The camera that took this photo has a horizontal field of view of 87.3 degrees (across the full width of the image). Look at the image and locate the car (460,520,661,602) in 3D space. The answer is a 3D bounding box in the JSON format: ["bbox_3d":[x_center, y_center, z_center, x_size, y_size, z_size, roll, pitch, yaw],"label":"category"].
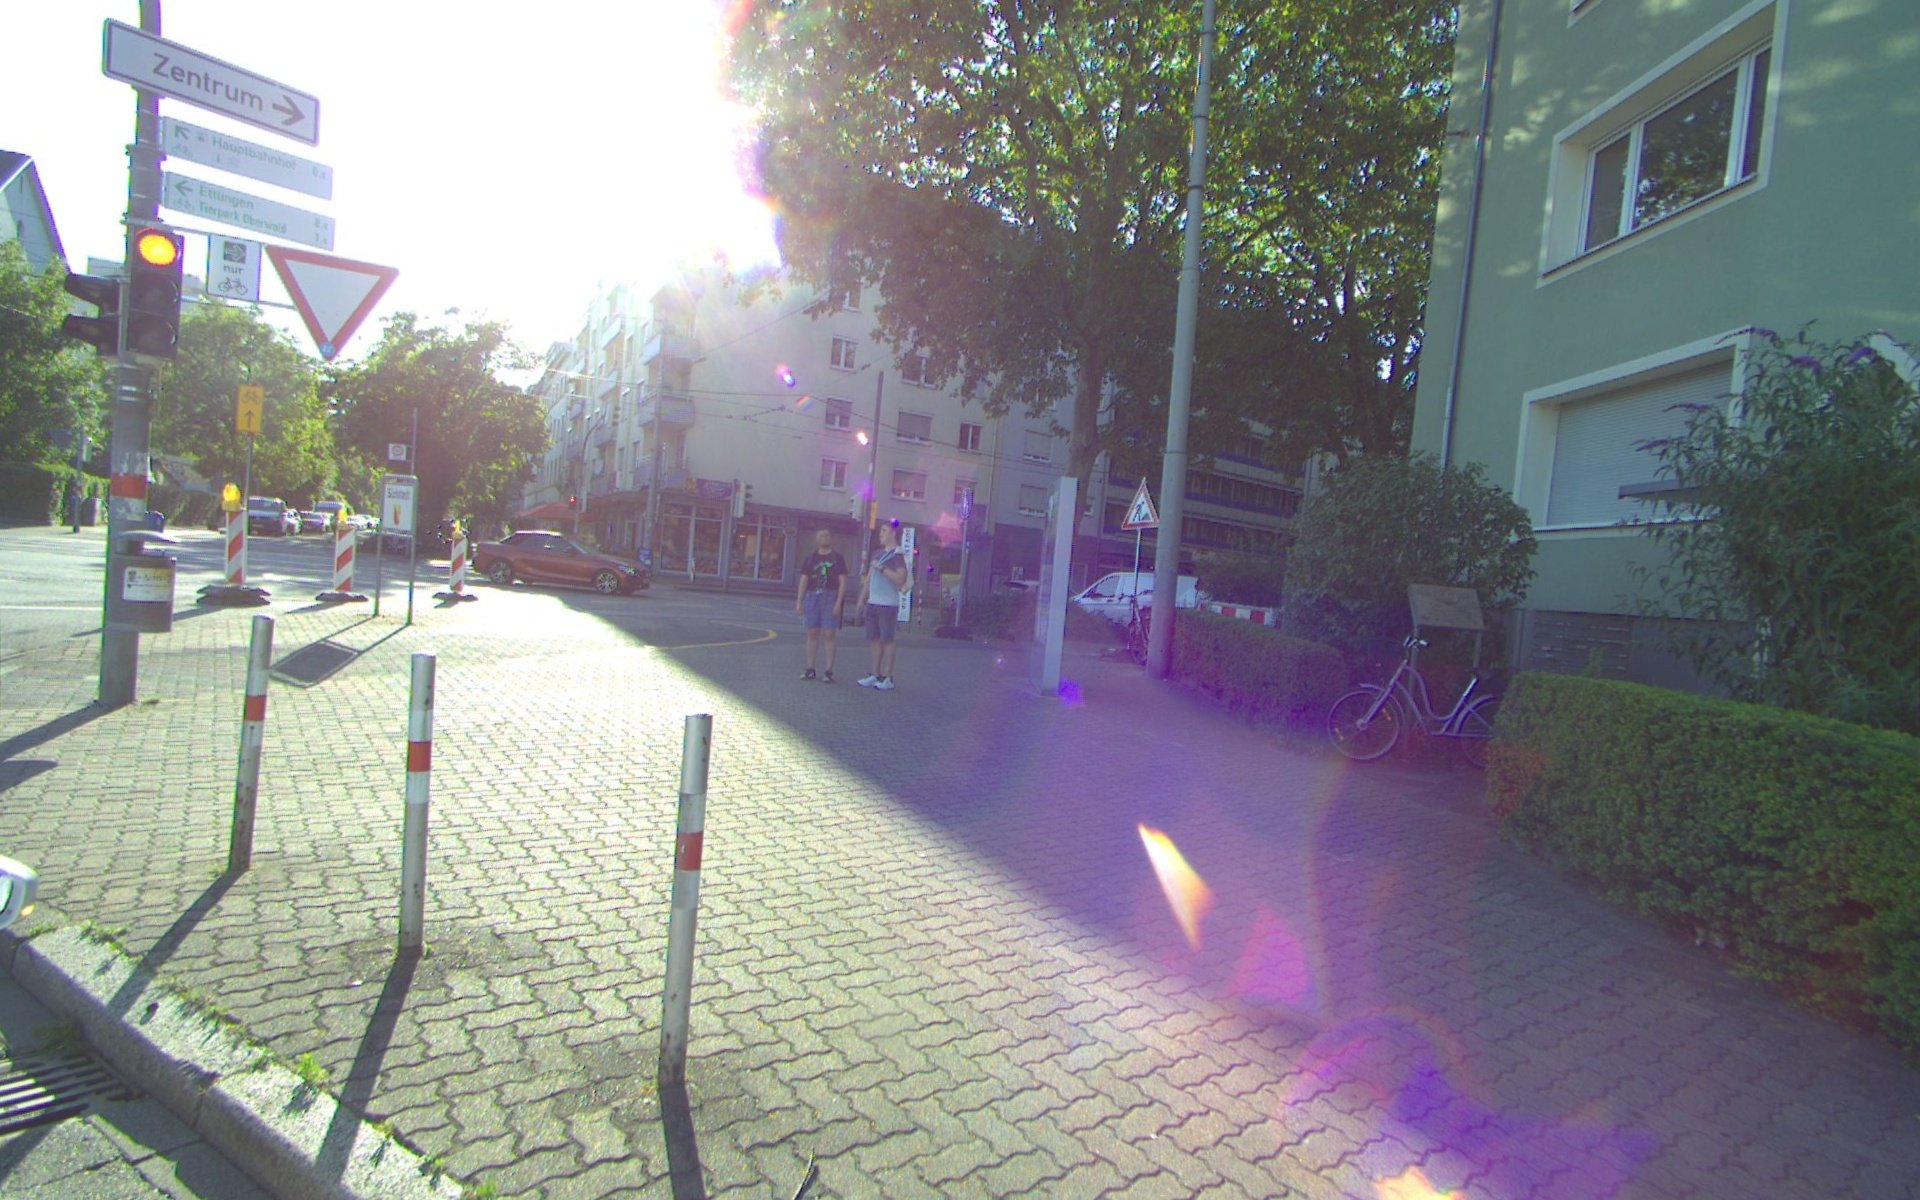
[{"bbox_3d":[-10.231,-0.972,25.980,4.311,1.584,1.899,6,0,-1],"label":"car"}]

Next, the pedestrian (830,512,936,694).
[{"bbox_3d":[-0.793,0.028,10.522,0.680,1.774,0.794,6,2,21],"label":"pedestrian"}]

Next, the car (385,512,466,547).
[{"bbox_3d":[-39.354,-5.156,74.118,5.050,1.948,2.344,5,0,-32],"label":"car"}]

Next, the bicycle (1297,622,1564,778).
[{"bbox_3d":[3.952,0.824,8.550,1.897,1.071,0.521,6,2,5],"label":"bicycle"}]

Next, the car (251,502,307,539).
[{"bbox_3d":[-40.164,-4.683,59.459,2.336,1.818,5.265,4,2,-31],"label":"car"}]

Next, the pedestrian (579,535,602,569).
[{"bbox_3d":[-18.260,-2.378,49.697,0.806,1.565,0.905,3,3,-35],"label":"pedestrian"}]

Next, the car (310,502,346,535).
[{"bbox_3d":[-54.393,-6.985,86.634,2.336,2.548,5.265,4,2,-31],"label":"car"}]

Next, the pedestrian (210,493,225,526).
[{"bbox_3d":[-41.291,-5.009,55.951,0.575,1.754,0.602,4,3,-34],"label":"pedestrian"}]

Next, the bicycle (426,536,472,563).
[{"bbox_3d":[-21.975,-2.169,43.278,1.708,0.945,0.557,5,2,-29],"label":"bicycle"}]

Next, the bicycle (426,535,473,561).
[{"bbox_3d":[-21.605,-2.192,42.607,1.708,0.945,0.557,5,2,-29],"label":"bicycle"}]

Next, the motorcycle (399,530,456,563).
[{"bbox_3d":[-21.643,-2.166,40.883,1.938,1.124,0.829,4,2,-34],"label":"motorcycle"}]

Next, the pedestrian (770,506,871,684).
[{"bbox_3d":[-1.476,-0.055,10.725,0.680,1.774,0.794,6,2,13],"label":"pedestrian"}]

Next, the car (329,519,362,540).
[{"bbox_3d":[-61.535,-7.068,100.806,2.333,1.818,5.271,5,2,-28],"label":"car"}]

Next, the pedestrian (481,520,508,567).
[{"bbox_3d":[-18.574,-2.238,40.150,0.681,1.774,0.793,5,2,-7],"label":"pedestrian"}]

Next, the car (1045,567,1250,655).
[{"bbox_3d":[4.710,0.224,26.133,1.913,1.849,5.185,5,0,-37],"label":"car"}]

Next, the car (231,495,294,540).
[{"bbox_3d":[-37.333,-4.400,53.987,2.336,2.040,5.265,4,2,-31],"label":"car"}]

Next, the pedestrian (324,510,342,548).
[{"bbox_3d":[-31.660,-3.576,50.804,0.656,1.864,0.677,4,3,-30],"label":"pedestrian"}]

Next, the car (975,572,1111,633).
[{"bbox_3d":[2.618,0.088,31.290,3.966,1.505,1.876,4,2,-40],"label":"car"}]

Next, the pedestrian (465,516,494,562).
[{"bbox_3d":[-19.456,-2.468,40.747,0.706,1.774,0.793,5,2,-7],"label":"pedestrian"}]

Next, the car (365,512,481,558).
[{"bbox_3d":[-30.230,-3.585,56.677,5.576,1.948,2.343,5,0,-32],"label":"car"}]

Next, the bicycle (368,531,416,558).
[{"bbox_3d":[-23.703,-2.335,42.015,1.708,0.945,0.667,5,2,-29],"label":"bicycle"}]

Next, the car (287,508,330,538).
[{"bbox_3d":[-47.041,-5.583,72.770,2.336,1.818,5.265,4,2,-31],"label":"car"}]

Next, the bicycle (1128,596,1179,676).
[{"bbox_3d":[2.864,0.497,15.004,0.511,1.071,1.933,6,2,7],"label":"bicycle"}]
